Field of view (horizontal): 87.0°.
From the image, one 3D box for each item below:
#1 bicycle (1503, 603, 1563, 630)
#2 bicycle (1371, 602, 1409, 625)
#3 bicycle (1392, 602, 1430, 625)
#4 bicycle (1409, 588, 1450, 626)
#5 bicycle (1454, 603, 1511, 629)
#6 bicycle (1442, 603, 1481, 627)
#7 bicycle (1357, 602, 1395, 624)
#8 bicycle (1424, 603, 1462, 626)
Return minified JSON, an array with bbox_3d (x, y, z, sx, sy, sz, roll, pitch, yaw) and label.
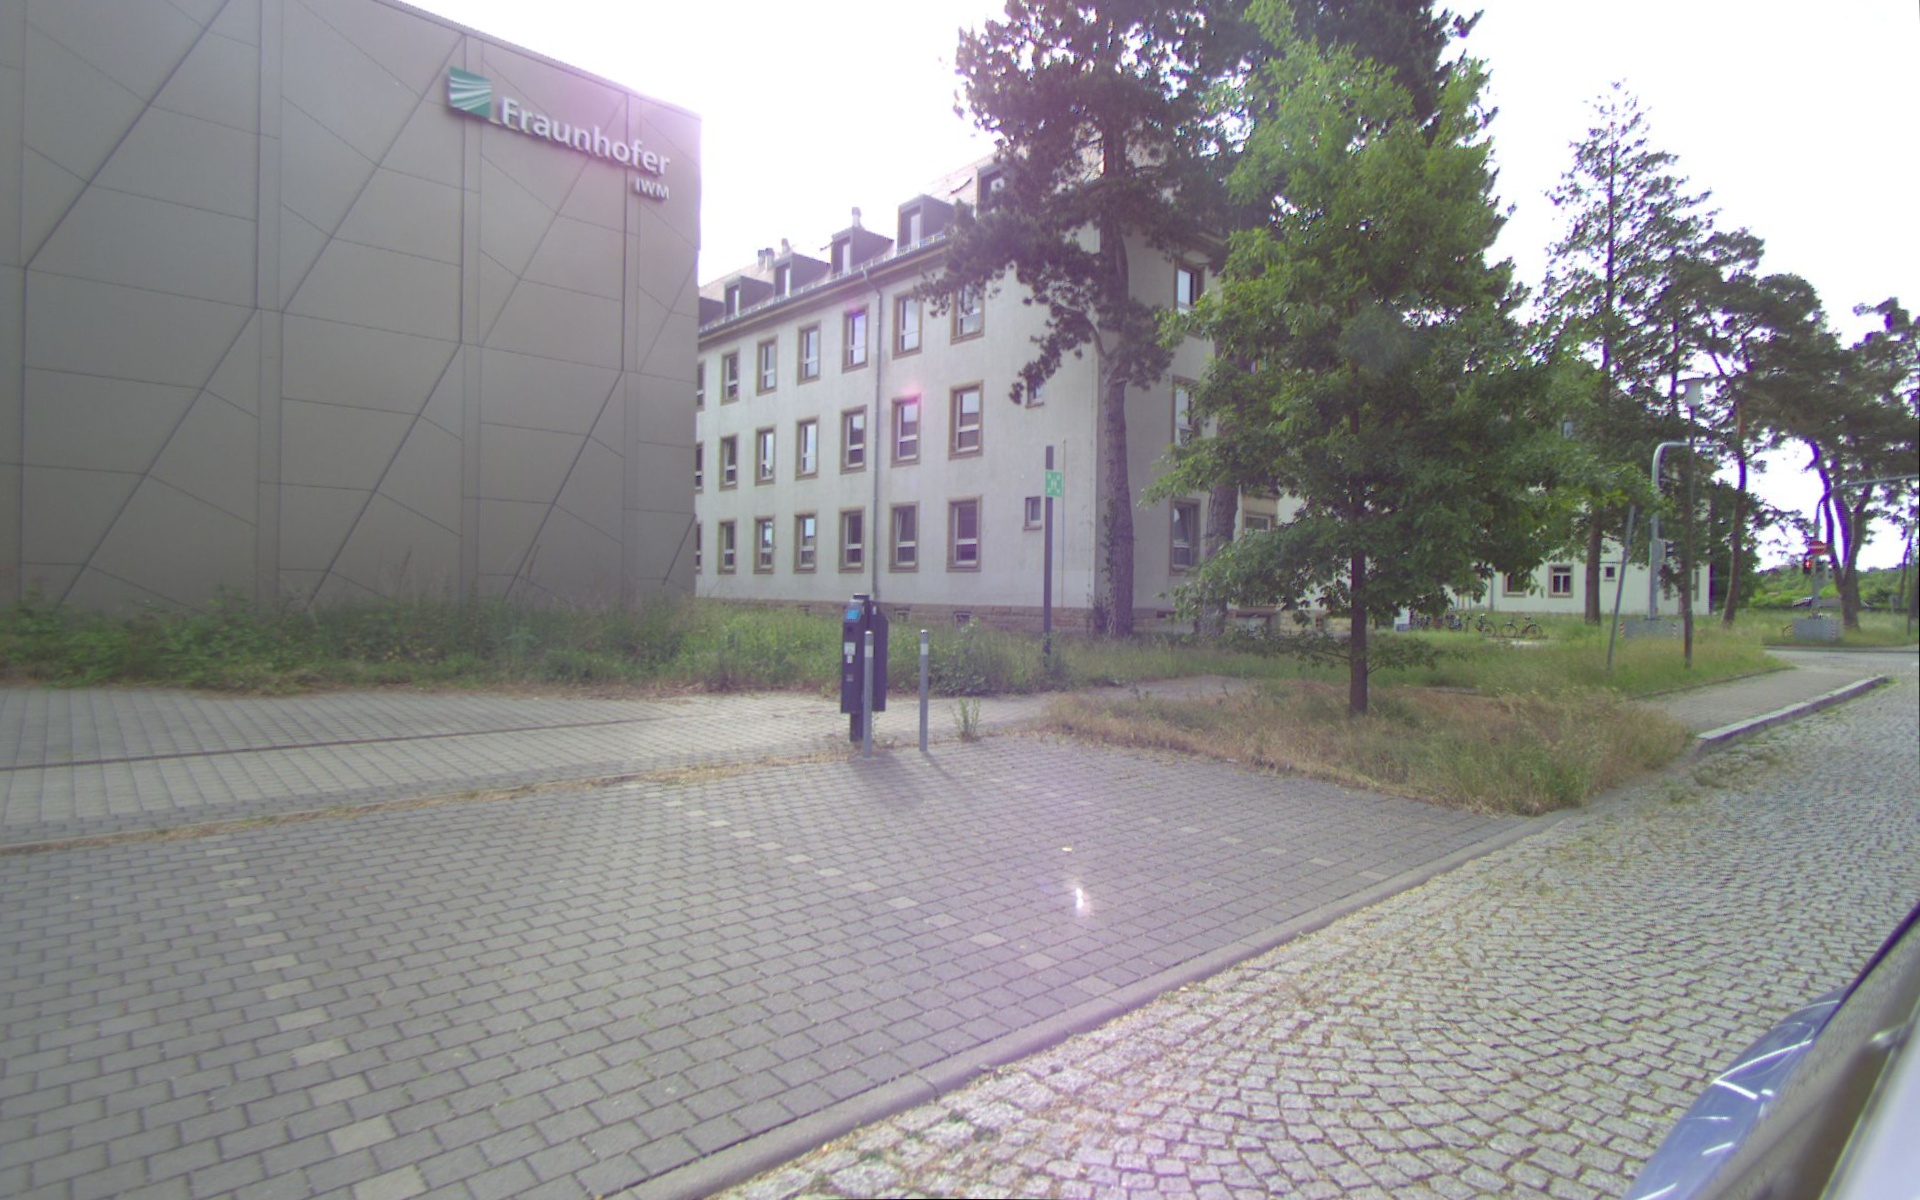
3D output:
[{"bbox_3d":[24.564,0.704,43.410,0.706,1.109,2.159,1,0,-45],"label":"bicycle"},{"bbox_3d":[20.902,0.646,49.141,2.127,1.070,0.799,0,0,-40],"label":"bicycle"},{"bbox_3d":[21.715,0.649,48.706,2.159,1.070,0.799,0,0,-40],"label":"bicycle"},{"bbox_3d":[22.344,0.315,48.131,2.159,1.753,0.905,0,0,-40],"label":"bicycle"},{"bbox_3d":[23.231,0.702,45.010,0.706,1.070,2.159,1,0,-45],"label":"bicycle"},{"bbox_3d":[23.155,0.679,46.693,2.127,1.070,0.799,0,0,-40],"label":"bicycle"},{"bbox_3d":[20.519,0.637,49.880,2.127,1.070,0.799,0,0,-40],"label":"bicycle"},{"bbox_3d":[22.600,0.668,47.336,2.159,1.070,0.799,0,0,-40],"label":"bicycle"}]
